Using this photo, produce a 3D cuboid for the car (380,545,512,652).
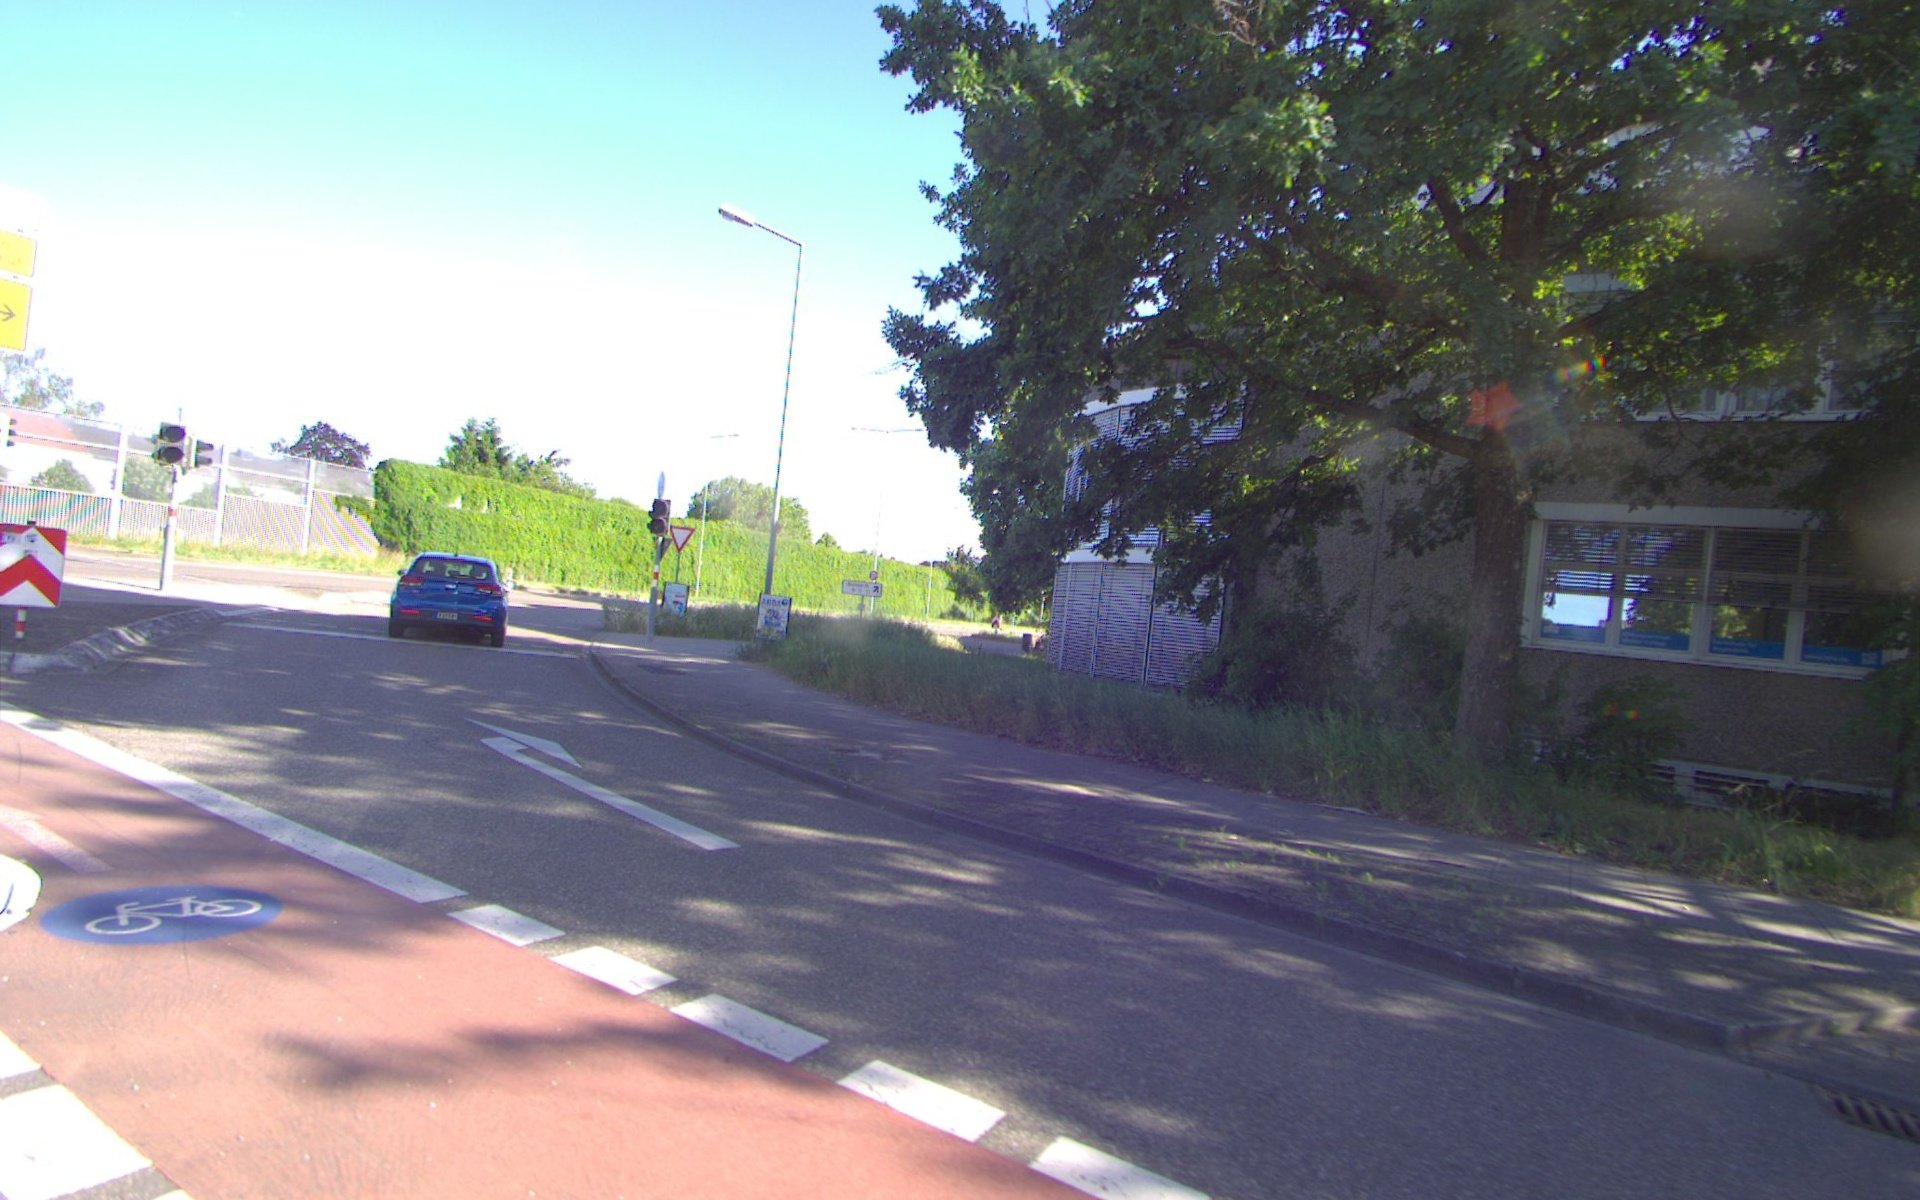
[{"bbox_3d":[-8.907,-0.099,17.521,1.716,1.458,3.767,7,0,-27],"label":"car"}]
